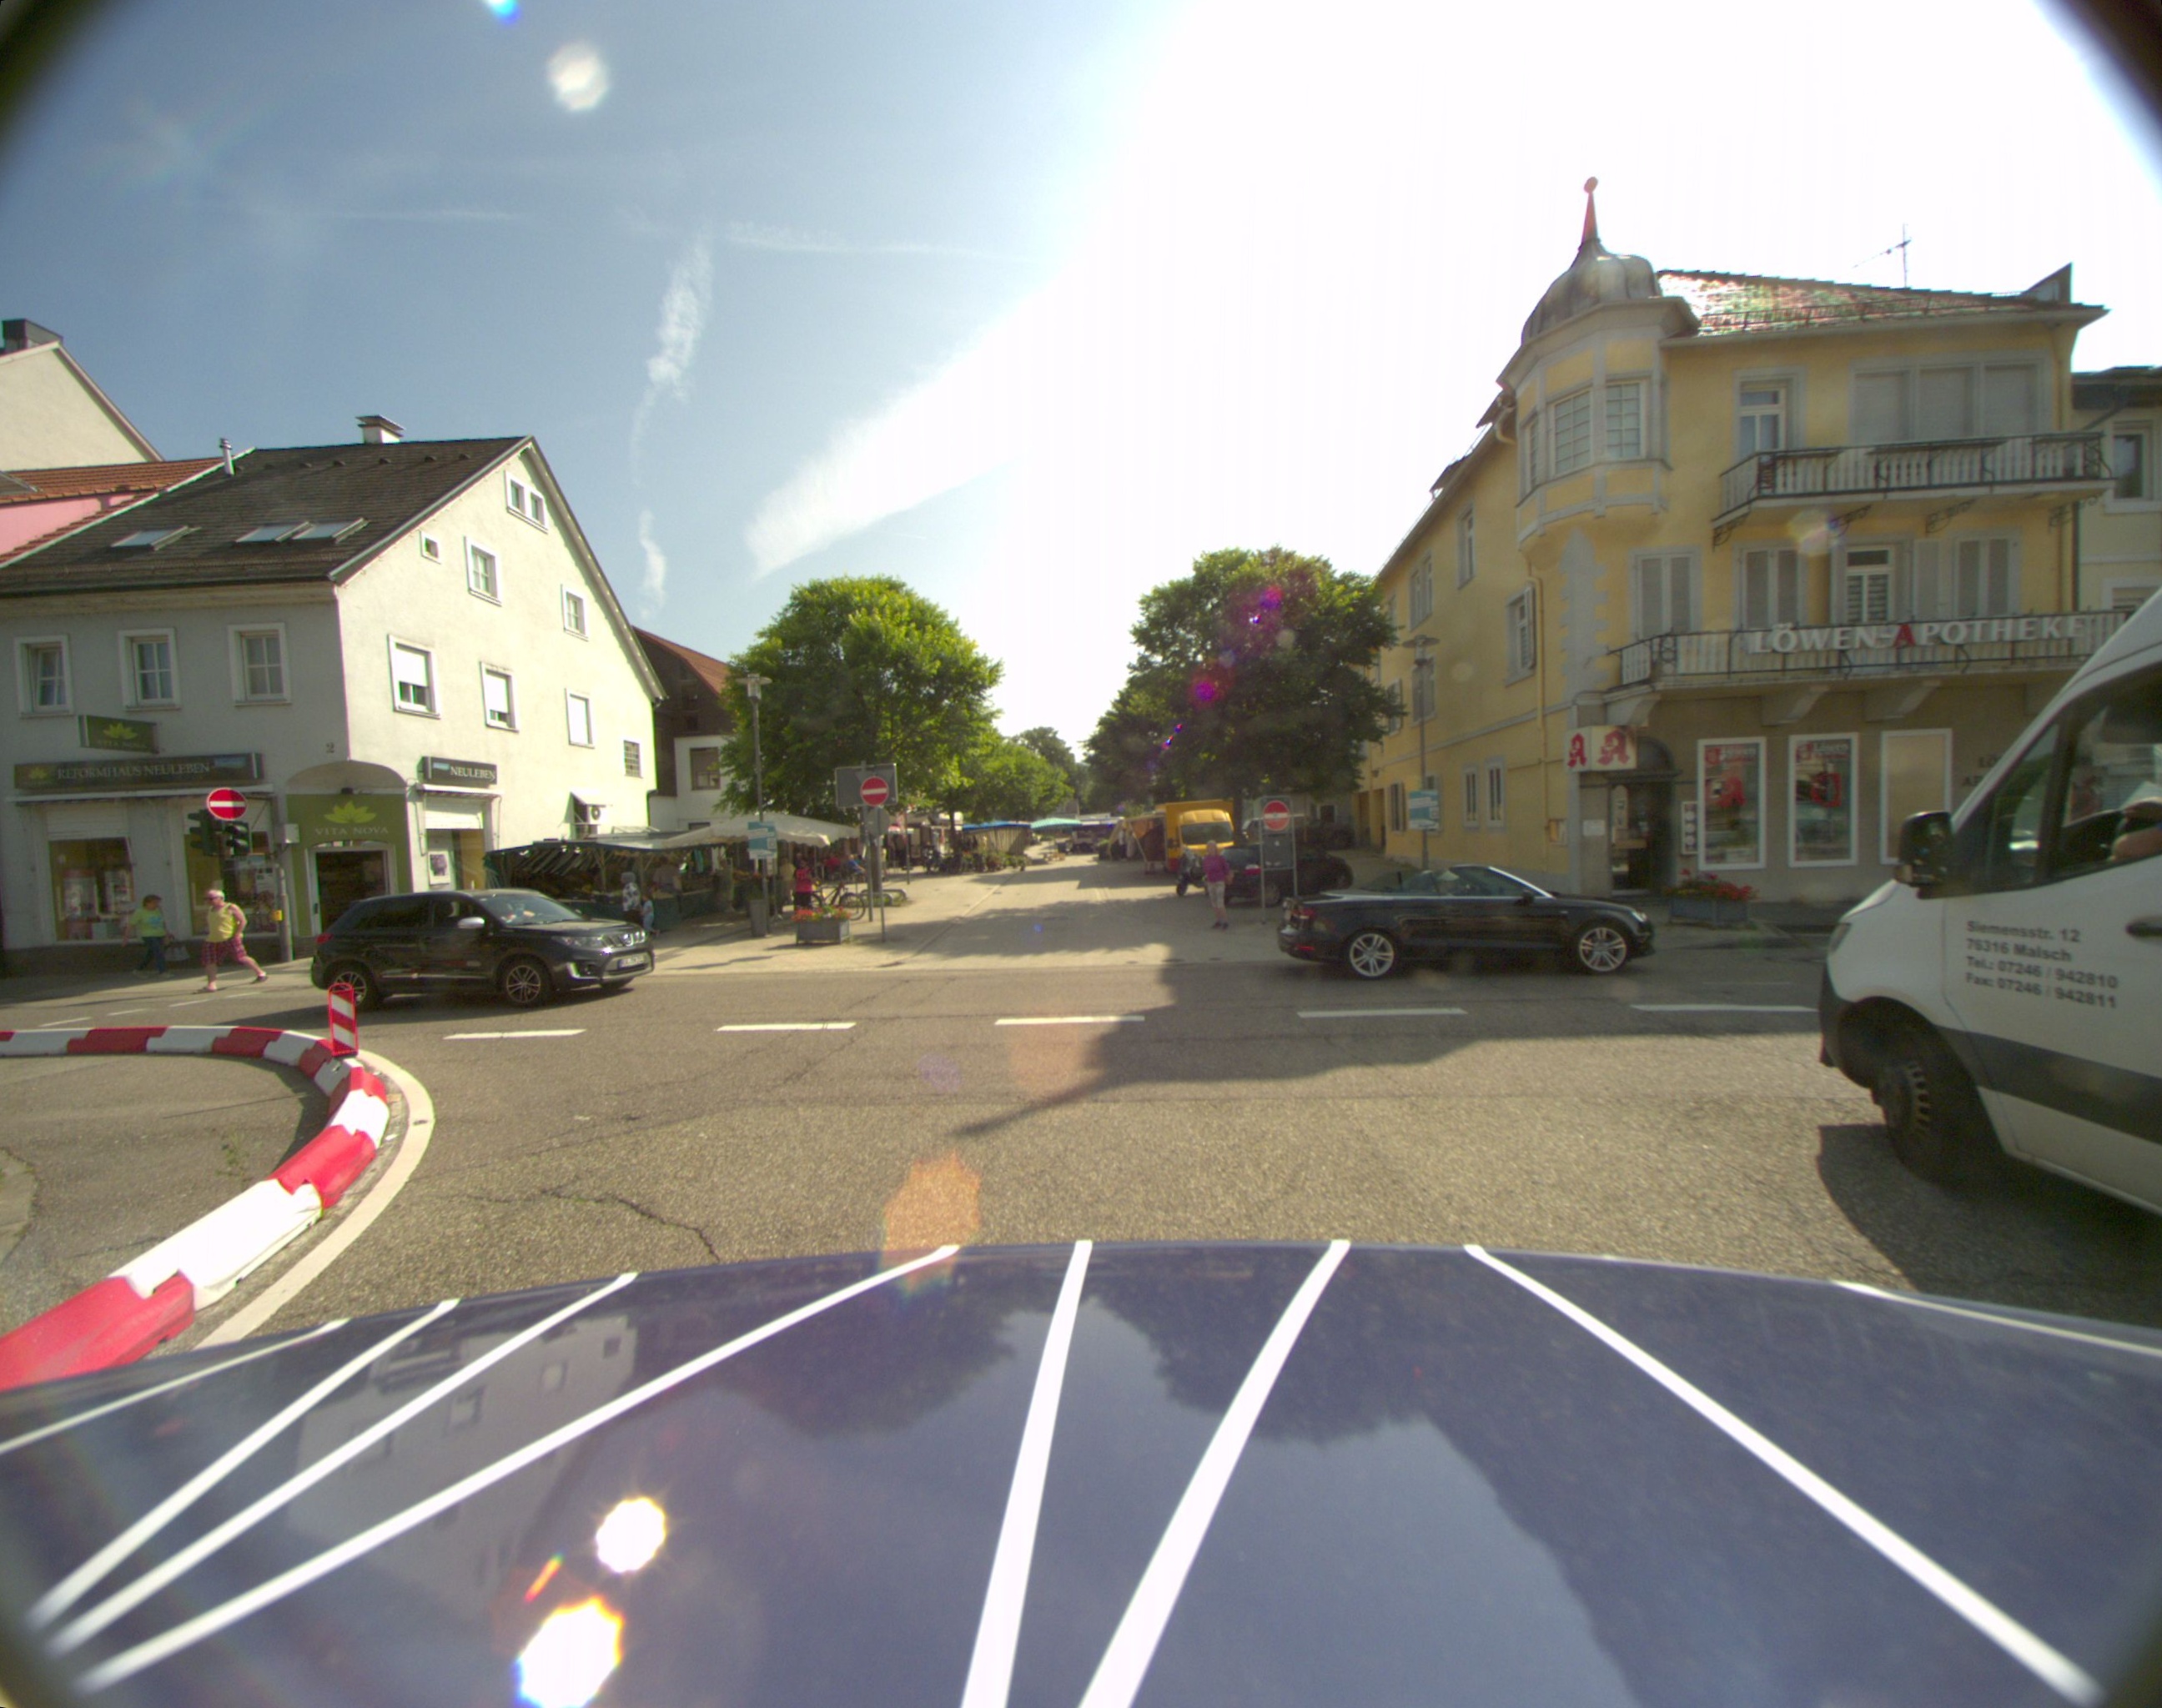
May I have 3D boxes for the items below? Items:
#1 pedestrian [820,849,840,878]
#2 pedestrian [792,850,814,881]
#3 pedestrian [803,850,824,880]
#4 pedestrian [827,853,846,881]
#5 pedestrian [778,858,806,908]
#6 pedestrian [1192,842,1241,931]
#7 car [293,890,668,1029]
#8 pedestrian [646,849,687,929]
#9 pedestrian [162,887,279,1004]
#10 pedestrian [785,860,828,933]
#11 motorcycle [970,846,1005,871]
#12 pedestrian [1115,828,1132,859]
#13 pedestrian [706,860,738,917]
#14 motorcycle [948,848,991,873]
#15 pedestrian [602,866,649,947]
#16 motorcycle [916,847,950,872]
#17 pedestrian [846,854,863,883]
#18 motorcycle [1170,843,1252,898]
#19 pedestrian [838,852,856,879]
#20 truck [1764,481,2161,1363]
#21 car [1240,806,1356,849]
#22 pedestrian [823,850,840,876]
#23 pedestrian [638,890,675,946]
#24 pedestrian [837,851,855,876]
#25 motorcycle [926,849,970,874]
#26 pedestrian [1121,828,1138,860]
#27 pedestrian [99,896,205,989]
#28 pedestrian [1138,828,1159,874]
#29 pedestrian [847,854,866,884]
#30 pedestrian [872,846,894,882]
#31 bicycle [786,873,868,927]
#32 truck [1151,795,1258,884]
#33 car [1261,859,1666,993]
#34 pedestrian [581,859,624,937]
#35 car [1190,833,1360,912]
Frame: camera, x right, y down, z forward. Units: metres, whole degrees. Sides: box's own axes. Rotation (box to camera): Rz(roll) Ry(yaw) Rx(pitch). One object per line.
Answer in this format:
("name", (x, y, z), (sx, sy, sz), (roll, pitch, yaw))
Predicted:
("pedestrian", (-11.662, 0.447, 35.309), (0.626, 1.323, 0.699), (0, 3, 7))
("pedestrian", (-12.192, 0.514, 33.329), (0.626, 1.323, 0.699), (0, 3, 7))
("pedestrian", (-12.043, 0.504, 34.244), (0.626, 1.323, 0.699), (0, 3, 7))
("pedestrian", (-10.786, 0.550, 33.529), (0.571, 1.194, 0.650), (0, 3, 4))
("pedestrian", (-9.201, 0.912, 24.195), (0.622, 1.510, 0.633), (-3, 2, -7))
("pedestrian", (2.712, 0.632, 15.214), (0.678, 1.705, 0.618), (-1, 3, 39))
("car", (-8.220, 1.409, 10.611), (3.966, 1.551, 1.685), (-3, 0, 5))
("pedestrian", (-10.647, 0.882, 19.537), (0.708, 1.974, 0.651), (-3, 2, -18))
("pedestrian", (-15.011, 1.559, 13.311), (1.022, 1.806, 0.905), (-8, 6, -38))
("pedestrian", (-6.556, 0.999, 18.151), (0.884, 1.649, 0.571), (-1, 3, -16))
("motorcycle", (-4.675, 0.228, 38.070), (0.645, 1.189, 1.999), (-2, 3, -45))
("pedestrian", (2.311, -0.570, 41.281), (0.682, 1.672, 0.582), (-5, 2, -13))
("pedestrian", (-10.546, 1.002, 22.360), (0.522, 1.617, 0.707), (-2, 2, -1))
("motorcycle", (-5.480, 0.294, 37.227), (2.001, 1.189, 0.644), (1, 2, 17))
("pedestrian", (-10.126, 1.139, 16.917), (0.789, 1.714, 0.705), (-3, 2, -29))
("motorcycle", (-7.346, 0.278, 37.786), (1.531, 1.189, 0.643), (0, 2, 3))
("pedestrian", (-9.795, 0.612, 32.917), (0.572, 1.194, 0.650), (-1, 3, -7))
("motorcycle", (3.637, 0.453, 21.445), (2.086, 1.353, 0.888), (-5, 2, 2))
("pedestrian", (-10.721, 0.512, 34.849), (0.571, 1.194, 0.650), (0, 3, 4))
("truck", (3.837, 0.198, 0.601), (2.107, 2.683, 7.143), (-2, 0, 18))
("car", (10.621, -1.283, 37.400), (5.069, 1.880, 1.999), (-2, 1, -1))
("pedestrian", (-11.949, 0.436, 36.386), (0.571, 1.194, 0.650), (0, 3, 4))
("pedestrian", (-9.368, 1.397, 16.764), (0.623, 1.154, 0.515), (-3, 2, -32))
("pedestrian", (-11.258, 0.457, 36.439), (0.571, 1.194, 0.650), (0, 3, 4))
("motorcycle", (-6.425, 0.354, 36.669), (2.001, 1.189, 0.644), (1, 3, 17))
("pedestrian", (2.607, -0.541, 40.852), (0.682, 1.673, 0.582), (-5, 4, -13))
("pedestrian", (-17.846, 1.680, 14.624), (0.858, 1.623, 0.788), (-3, 4, 5))
("pedestrian", (2.700, -0.119, 30.464), (0.681, 1.777, 0.726), (-5, 3, 0))
("pedestrian", (-9.470, 0.628, 32.047), (0.699, 1.194, 0.571), (-1, 3, -10))
("pedestrian", (-8.533, 0.417, 32.731), (0.698, 1.545, 0.572), (0, 3, 9))
("bicycle", (-6.494, 1.167, 19.503), (1.862, 1.228, 0.617), (-3, 2, -10))
("truck", (4.459, -0.679, 29.329), (3.008, 2.743, 8.859), (-3, 3, 3))
("car", (4.553, 0.858, 9.644), (4.194, 1.348, 1.757), (-3, 1, 8))
("pedestrian", (-12.449, 1.129, 19.776), (0.507, 1.959, 0.708), (-1, 2, 30))
("car", (4.851, 0.380, 18.856), (3.964, 1.535, 1.918), (-6, 4, -35))
